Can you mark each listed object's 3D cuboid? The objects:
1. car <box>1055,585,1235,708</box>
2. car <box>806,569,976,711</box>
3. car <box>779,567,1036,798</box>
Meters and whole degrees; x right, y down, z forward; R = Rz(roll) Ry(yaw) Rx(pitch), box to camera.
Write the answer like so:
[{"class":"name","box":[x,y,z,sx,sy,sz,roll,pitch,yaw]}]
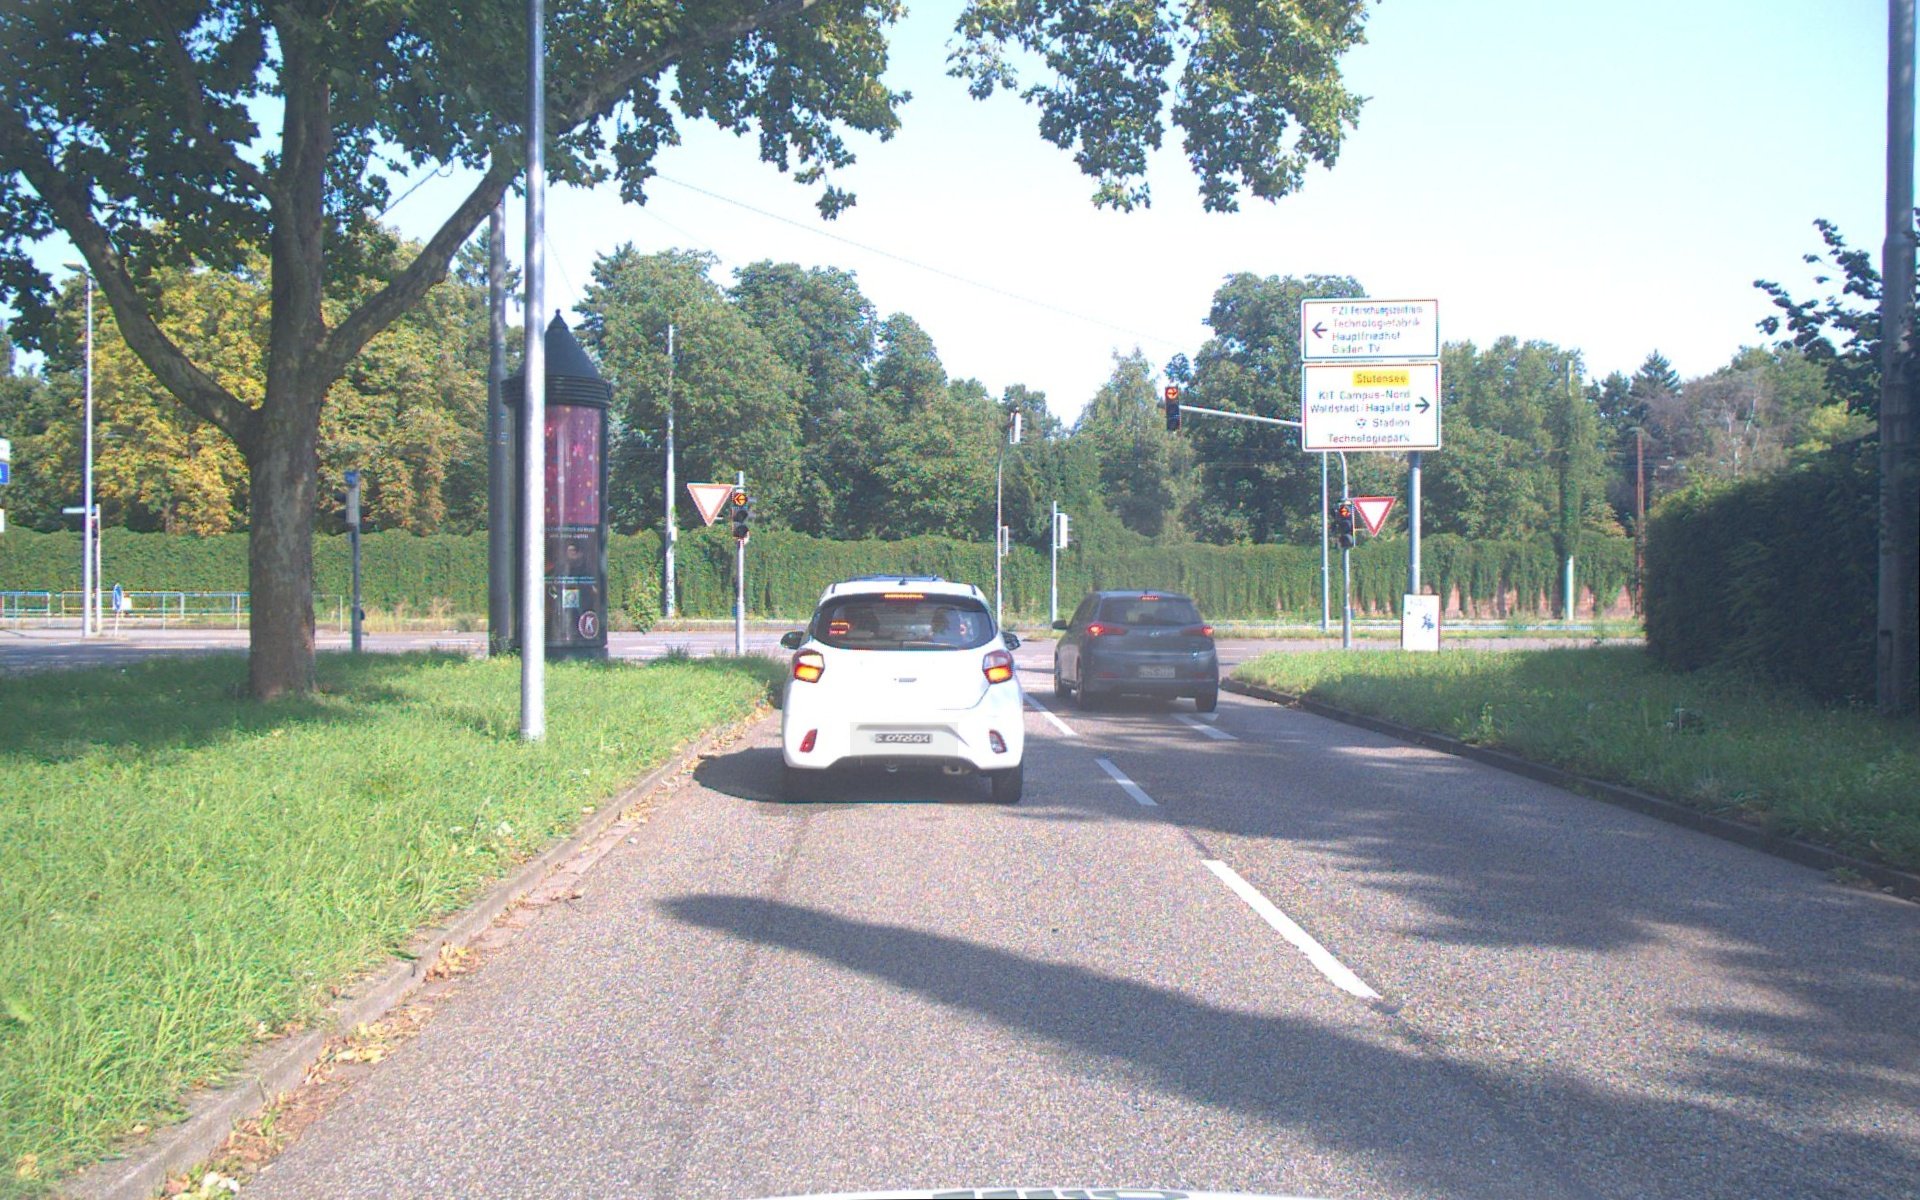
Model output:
[{"class":"car","box":[2.298,0.535,21.497,1.761,1.425,3.998,1,0,-2]},{"class":"car","box":[-0.713,0.409,19.377,1.652,1.487,3.851,1,0,2]},{"class":"car","box":[-0.357,0.522,12.730,1.653,1.487,4.000,1,0,-1]}]
